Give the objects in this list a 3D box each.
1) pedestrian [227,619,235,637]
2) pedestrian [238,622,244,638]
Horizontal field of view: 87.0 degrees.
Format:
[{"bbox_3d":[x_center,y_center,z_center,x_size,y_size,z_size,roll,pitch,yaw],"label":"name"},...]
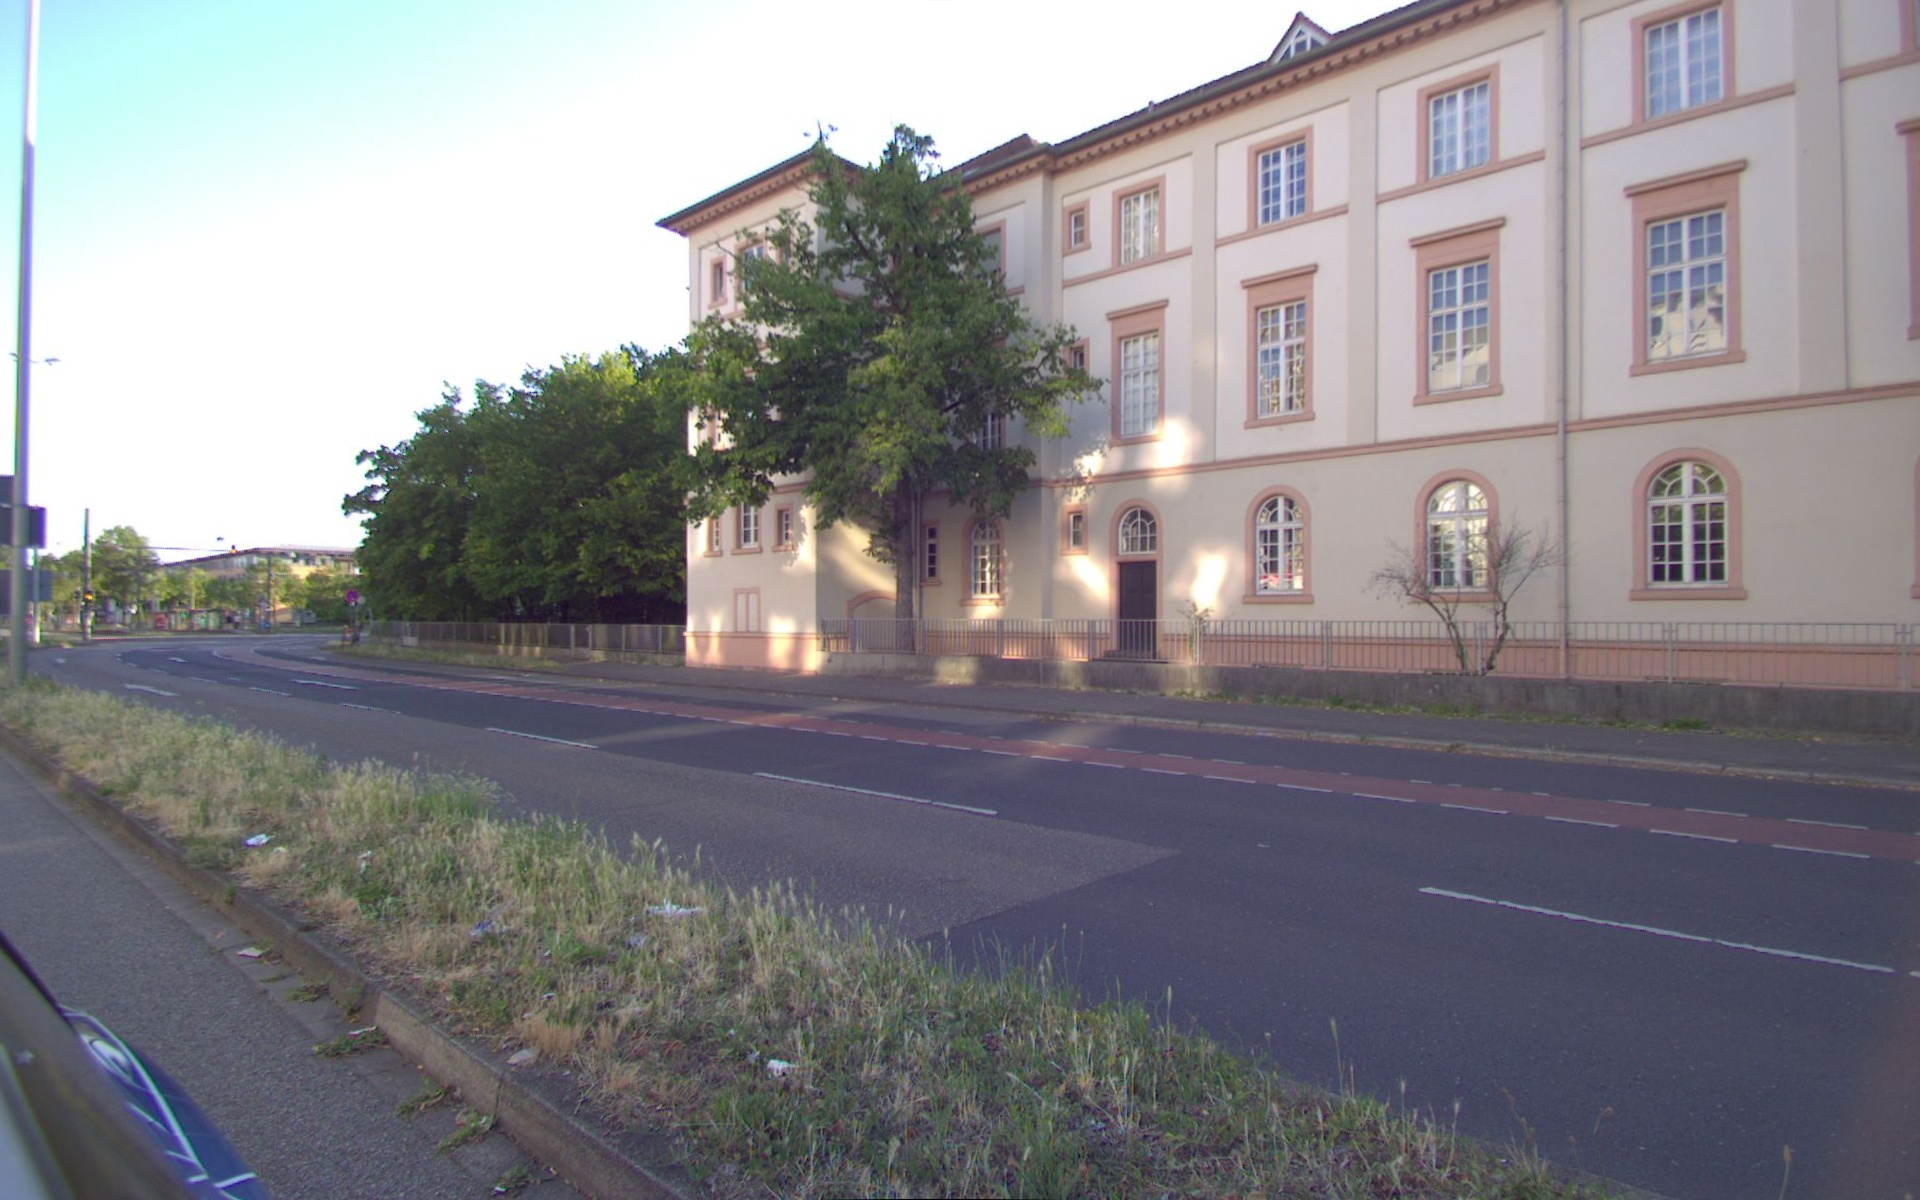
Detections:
[{"bbox_3d":[-81.419,3.084,113.014,0.664,2.029,0.549,-1,-2,41],"label":"pedestrian"},{"bbox_3d":[-80.745,3.360,113.642,0.419,1.718,0.461,-1,-2,41],"label":"pedestrian"}]
